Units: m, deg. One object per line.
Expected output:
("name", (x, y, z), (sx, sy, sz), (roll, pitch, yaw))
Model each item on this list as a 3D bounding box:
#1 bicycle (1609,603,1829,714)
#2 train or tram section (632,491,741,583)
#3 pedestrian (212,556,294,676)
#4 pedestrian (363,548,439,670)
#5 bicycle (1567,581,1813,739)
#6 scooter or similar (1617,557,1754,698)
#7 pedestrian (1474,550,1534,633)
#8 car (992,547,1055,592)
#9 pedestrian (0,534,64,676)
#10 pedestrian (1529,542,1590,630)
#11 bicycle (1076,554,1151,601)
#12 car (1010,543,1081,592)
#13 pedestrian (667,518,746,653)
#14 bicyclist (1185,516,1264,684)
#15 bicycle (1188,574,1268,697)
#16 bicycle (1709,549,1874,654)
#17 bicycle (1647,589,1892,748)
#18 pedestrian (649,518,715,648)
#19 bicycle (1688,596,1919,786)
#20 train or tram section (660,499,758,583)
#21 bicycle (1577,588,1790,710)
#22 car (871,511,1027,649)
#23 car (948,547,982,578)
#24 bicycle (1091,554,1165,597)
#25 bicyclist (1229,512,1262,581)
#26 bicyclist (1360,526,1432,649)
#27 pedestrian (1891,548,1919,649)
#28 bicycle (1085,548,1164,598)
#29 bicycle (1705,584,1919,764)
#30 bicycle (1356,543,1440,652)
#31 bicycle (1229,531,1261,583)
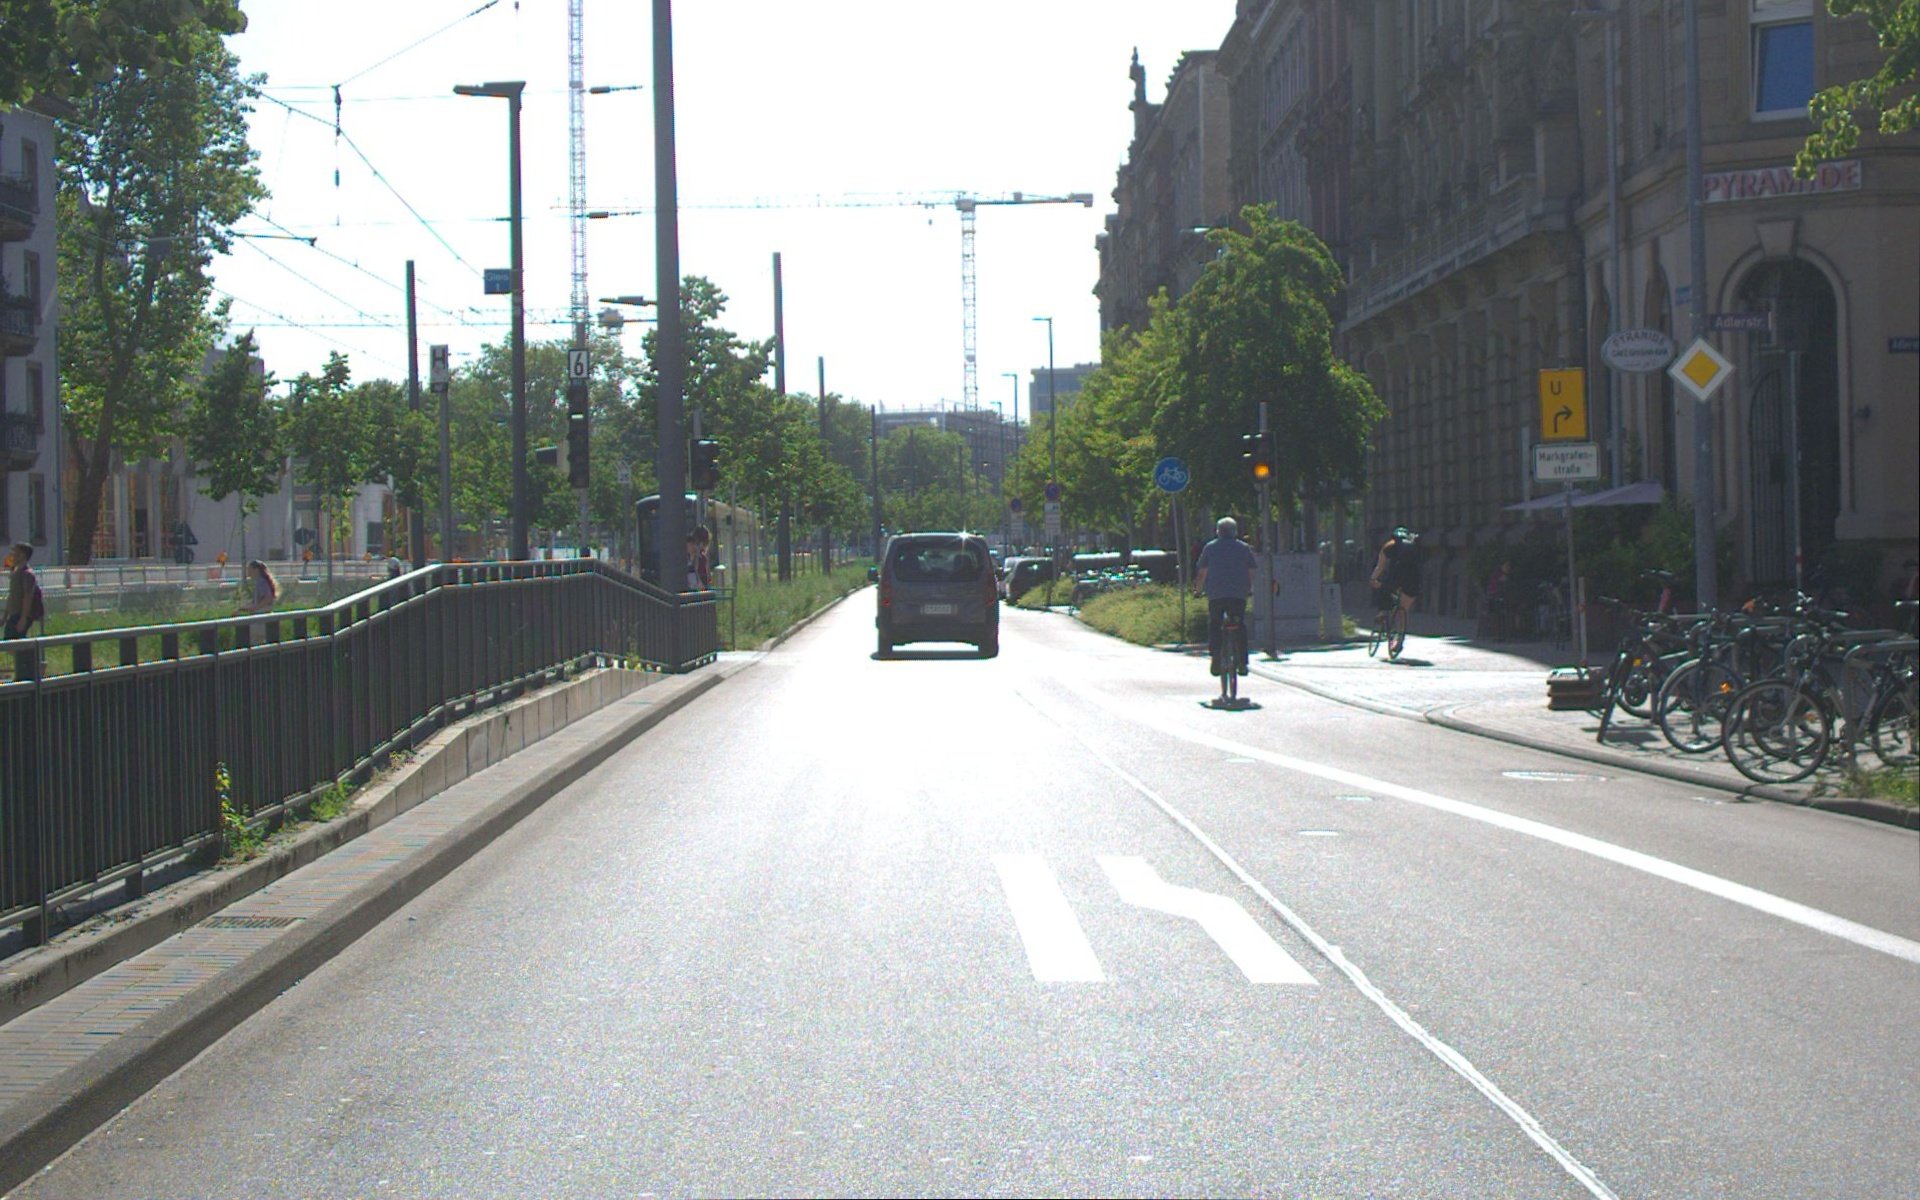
("bicycle", (6.202, 0.478, 28.148), (1.670, 0.818, 0.607), (-2, 1, 6))
("train or tram section", (-8.485, -1.905, 107.568), (2.756, 2.733, 9.864), (0, 0, -1))
("pedestrian", (-9.099, 0.199, 44.277), (0.865, 1.531, 0.909), (0, 1, -1))
("pedestrian", (-7.095, 0.112, 43.652), (0.812, 1.531, 0.798), (0, 1, 1))
("bicycle", (5.649, 0.457, 26.663), (1.723, 1.097, 0.607), (-4, 1, 3))
("scooter or similar", (6.371, 0.240, 30.222), (1.111, 1.185, 0.419), (-2, 1, 6))
("pedestrian", (7.940, -0.129, 50.166), (0.706, 1.174, 0.635), (-3, 1, -1))
("car", (2.239, -1.100, 122.880), (2.028, 1.493, 4.530), (-1, 1, -1))
("pedestrian", (-11.820, 0.055, 43.570), (0.864, 1.774, 0.909), (0, 1, -12))
("pedestrian", (8.753, -0.208, 50.224), (0.706, 1.232, 0.635), (-3, 1, -1))
("bicycle", (3.891, -0.580, 87.127), (1.792, 1.027, 0.527), (-5, 1, -1))
("car", (2.731, -1.062, 110.539), (2.028, 1.493, 4.654), (-1, 1, -1))
("pedestrian", (-3.666, -0.213, 49.672), (1.075, 1.902, 0.653), (-1, 1, -7))
("bicyclist", (2.673, -0.009, 34.852), (0.684, 1.667, 0.922), (1, 1, -2))
("bicycle", (2.691, 0.342, 34.646), (0.601, 1.177, 1.869), (1, 1, -2))
("bicycle", (9.921, 0.013, 41.063), (1.817, 1.167, 0.654), (-1, 4, 3))
("bicycle", (5.900, 0.493, 25.111), (1.600, 1.042, 0.607), (-4, 1, 3))
("pedestrian", (-3.844, -0.242, 47.457), (0.865, 1.782, 0.971), (0, 1, -7))
("bicycle", (5.890, 0.564, 22.427), (1.994, 1.089, 0.847), (-4, 1, -10))
("train or tram section", (-8.507, -1.951, 117.416), (2.756, 2.733, 9.864), (0, 0, -1))
("bicycle", (6.050, 0.407, 28.811), (1.670, 0.940, 0.607), (-2, 1, 6))
("car", (-0.205, -0.320, 51.685), (2.200, 1.919, 4.654), (-1, 1, -1))
("car", (0.285, -2.220, 205.866), (1.993, 1.831, 4.000), (0, 0, -1))
("bicycle", (4.193, -0.616, 85.784), (1.792, 1.027, 0.527), (-1, 1, -1))
("bicyclist", (6.882, -1.288, 82.964), (0.666, 1.633, 0.960), (-1, 1, -1))
("bicyclist", (5.650, -0.164, 44.585), (0.660, 1.525, 0.801), (-5, 1, -4))
("pedestrian", (11.982, -0.025, 42.061), (0.849, 1.210, 0.934), (0, 1, -8))
("bicycle", (3.954, -0.645, 82.809), (1.792, 1.027, 0.527), (-5, 1, -1))
("bicycle", (6.261, 0.489, 23.802), (1.995, 1.124, 0.710), (-4, 1, 1))
("bicycle", (5.667, -0.041, 44.545), (0.615, 1.326, 1.900), (-5, 1, -4))
("bicycle", (6.882, -1.044, 83.092), (0.583, 1.218, 1.900), (-1, 1, -1))
